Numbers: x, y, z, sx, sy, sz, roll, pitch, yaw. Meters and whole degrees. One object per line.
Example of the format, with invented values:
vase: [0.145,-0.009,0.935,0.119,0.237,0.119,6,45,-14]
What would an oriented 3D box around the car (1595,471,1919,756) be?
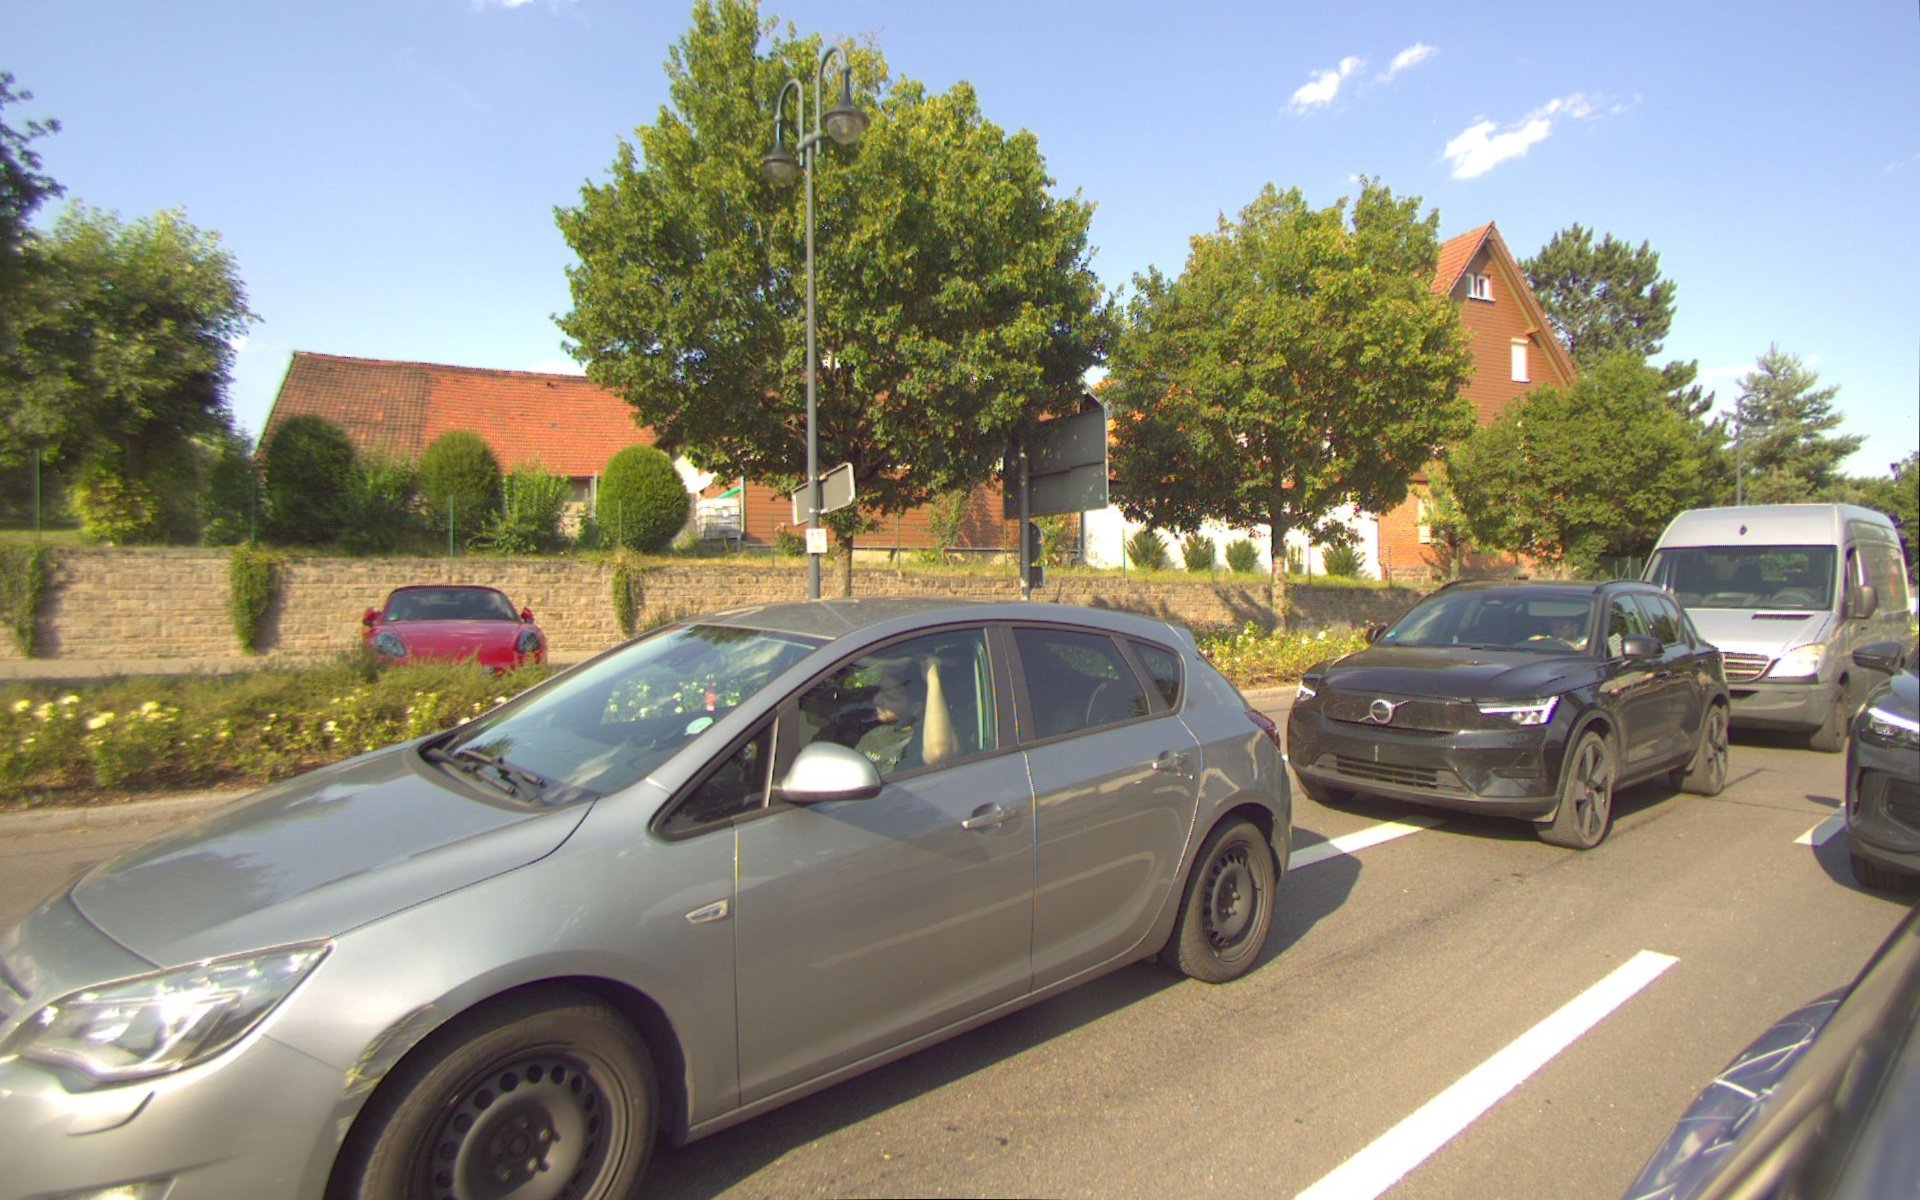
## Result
car: [9.701,0.085,11.936,5.938,2.601,1.992,0,1,-40]

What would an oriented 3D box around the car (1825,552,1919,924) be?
car: [6.224,0.617,5.334,4.242,1.629,1.844,0,2,-40]

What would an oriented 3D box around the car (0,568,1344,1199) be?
car: [-0.549,0.665,3.519,4.244,1.471,1.765,0,2,-42]

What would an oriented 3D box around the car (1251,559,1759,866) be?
car: [4.170,0.566,7.449,4.242,1.629,1.844,0,2,-40]

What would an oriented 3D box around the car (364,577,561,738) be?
car: [-5.886,0.526,11.711,1.743,1.510,4.156,0,0,-31]
